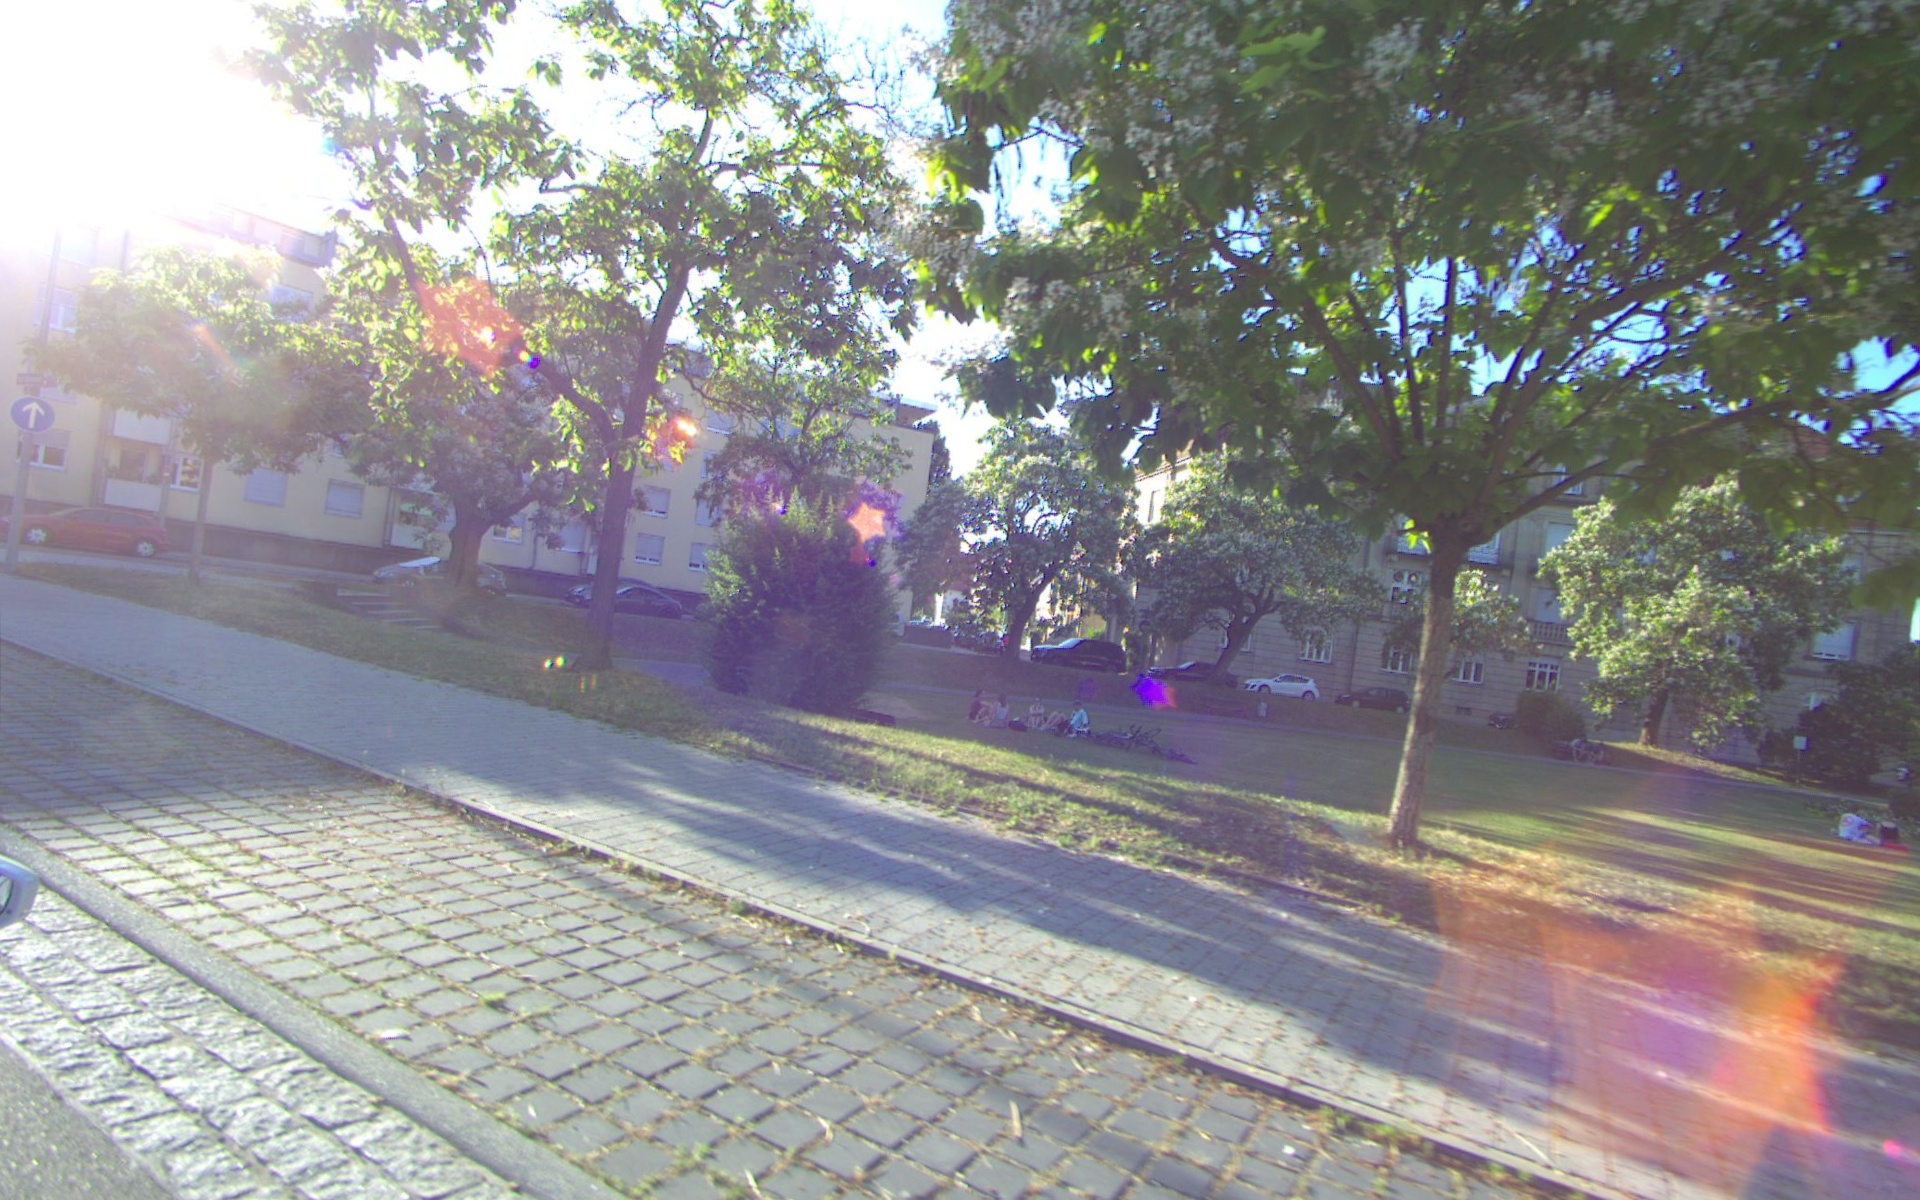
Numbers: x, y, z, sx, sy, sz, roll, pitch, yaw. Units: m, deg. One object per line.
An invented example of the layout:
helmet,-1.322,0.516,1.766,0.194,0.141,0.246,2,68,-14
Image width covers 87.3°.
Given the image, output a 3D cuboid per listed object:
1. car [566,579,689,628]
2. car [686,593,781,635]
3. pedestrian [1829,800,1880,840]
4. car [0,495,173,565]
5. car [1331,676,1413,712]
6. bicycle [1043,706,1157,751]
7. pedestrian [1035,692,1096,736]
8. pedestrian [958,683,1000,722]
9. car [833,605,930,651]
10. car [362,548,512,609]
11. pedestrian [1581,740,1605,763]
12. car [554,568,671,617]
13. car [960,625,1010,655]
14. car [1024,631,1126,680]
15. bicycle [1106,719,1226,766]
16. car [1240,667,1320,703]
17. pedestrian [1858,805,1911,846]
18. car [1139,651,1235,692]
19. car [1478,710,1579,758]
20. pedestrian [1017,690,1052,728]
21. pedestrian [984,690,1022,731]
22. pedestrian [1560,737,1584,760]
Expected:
car,-12.981,0.157,39.440,4.177,1.373,1.675,8,-2,-39
car,-10.838,0.660,48.117,3.959,1.470,1.866,8,-1,-31
pedestrian,22.087,5.420,24.842,0.578,0.803,0.666,7,-1,-12
car,-27.955,-2.205,31.951,1.969,1.548,4.199,7,-2,35
car,23.880,5.447,58.398,3.924,1.470,1.882,7,-1,5
bicycle,3.145,2.896,22.712,1.756,0.622,1.795,9,-2,-35
pedestrian,2.507,2.721,24.013,1.240,0.822,0.572,9,-1,-14
pedestrian,0.469,2.474,24.379,0.712,0.822,0.612,7,-2,32
car,-4.035,1.448,51.901,4.469,1.766,1.870,8,-1,-25
car,-17.941,-0.722,34.635,4.184,1.480,1.672,9,-2,-44
pedestrian,26.098,6.259,41.500,0.655,0.803,0.587,7,-1,20
car,-15.541,-0.329,45.175,4.495,1.588,1.859,9,-2,-41
car,1.691,2.741,69.612,1.612,1.668,4.224,8,-1,-25
car,5.613,2.715,49.406,4.457,1.766,1.875,8,-1,-16
bicycle,4.419,3.058,21.670,1.756,0.622,1.795,9,-2,-35
car,18.504,4.905,58.275,3.926,1.470,1.881,7,-1,0
pedestrian,22.207,5.418,24.168,0.578,0.803,0.666,7,-1,-12
car,11.560,3.649,51.334,4.292,1.470,1.879,8,-1,-7
car,29.520,6.952,52.338,3.925,1.725,2.002,8,-2,3
pedestrian,1.830,2.673,24.626,0.602,0.822,0.473,7,-1,32
pedestrian,0.980,2.529,22.987,0.602,0.822,0.473,7,-1,32
pedestrian,25.407,6.155,41.752,0.655,0.803,0.587,7,-1,20
